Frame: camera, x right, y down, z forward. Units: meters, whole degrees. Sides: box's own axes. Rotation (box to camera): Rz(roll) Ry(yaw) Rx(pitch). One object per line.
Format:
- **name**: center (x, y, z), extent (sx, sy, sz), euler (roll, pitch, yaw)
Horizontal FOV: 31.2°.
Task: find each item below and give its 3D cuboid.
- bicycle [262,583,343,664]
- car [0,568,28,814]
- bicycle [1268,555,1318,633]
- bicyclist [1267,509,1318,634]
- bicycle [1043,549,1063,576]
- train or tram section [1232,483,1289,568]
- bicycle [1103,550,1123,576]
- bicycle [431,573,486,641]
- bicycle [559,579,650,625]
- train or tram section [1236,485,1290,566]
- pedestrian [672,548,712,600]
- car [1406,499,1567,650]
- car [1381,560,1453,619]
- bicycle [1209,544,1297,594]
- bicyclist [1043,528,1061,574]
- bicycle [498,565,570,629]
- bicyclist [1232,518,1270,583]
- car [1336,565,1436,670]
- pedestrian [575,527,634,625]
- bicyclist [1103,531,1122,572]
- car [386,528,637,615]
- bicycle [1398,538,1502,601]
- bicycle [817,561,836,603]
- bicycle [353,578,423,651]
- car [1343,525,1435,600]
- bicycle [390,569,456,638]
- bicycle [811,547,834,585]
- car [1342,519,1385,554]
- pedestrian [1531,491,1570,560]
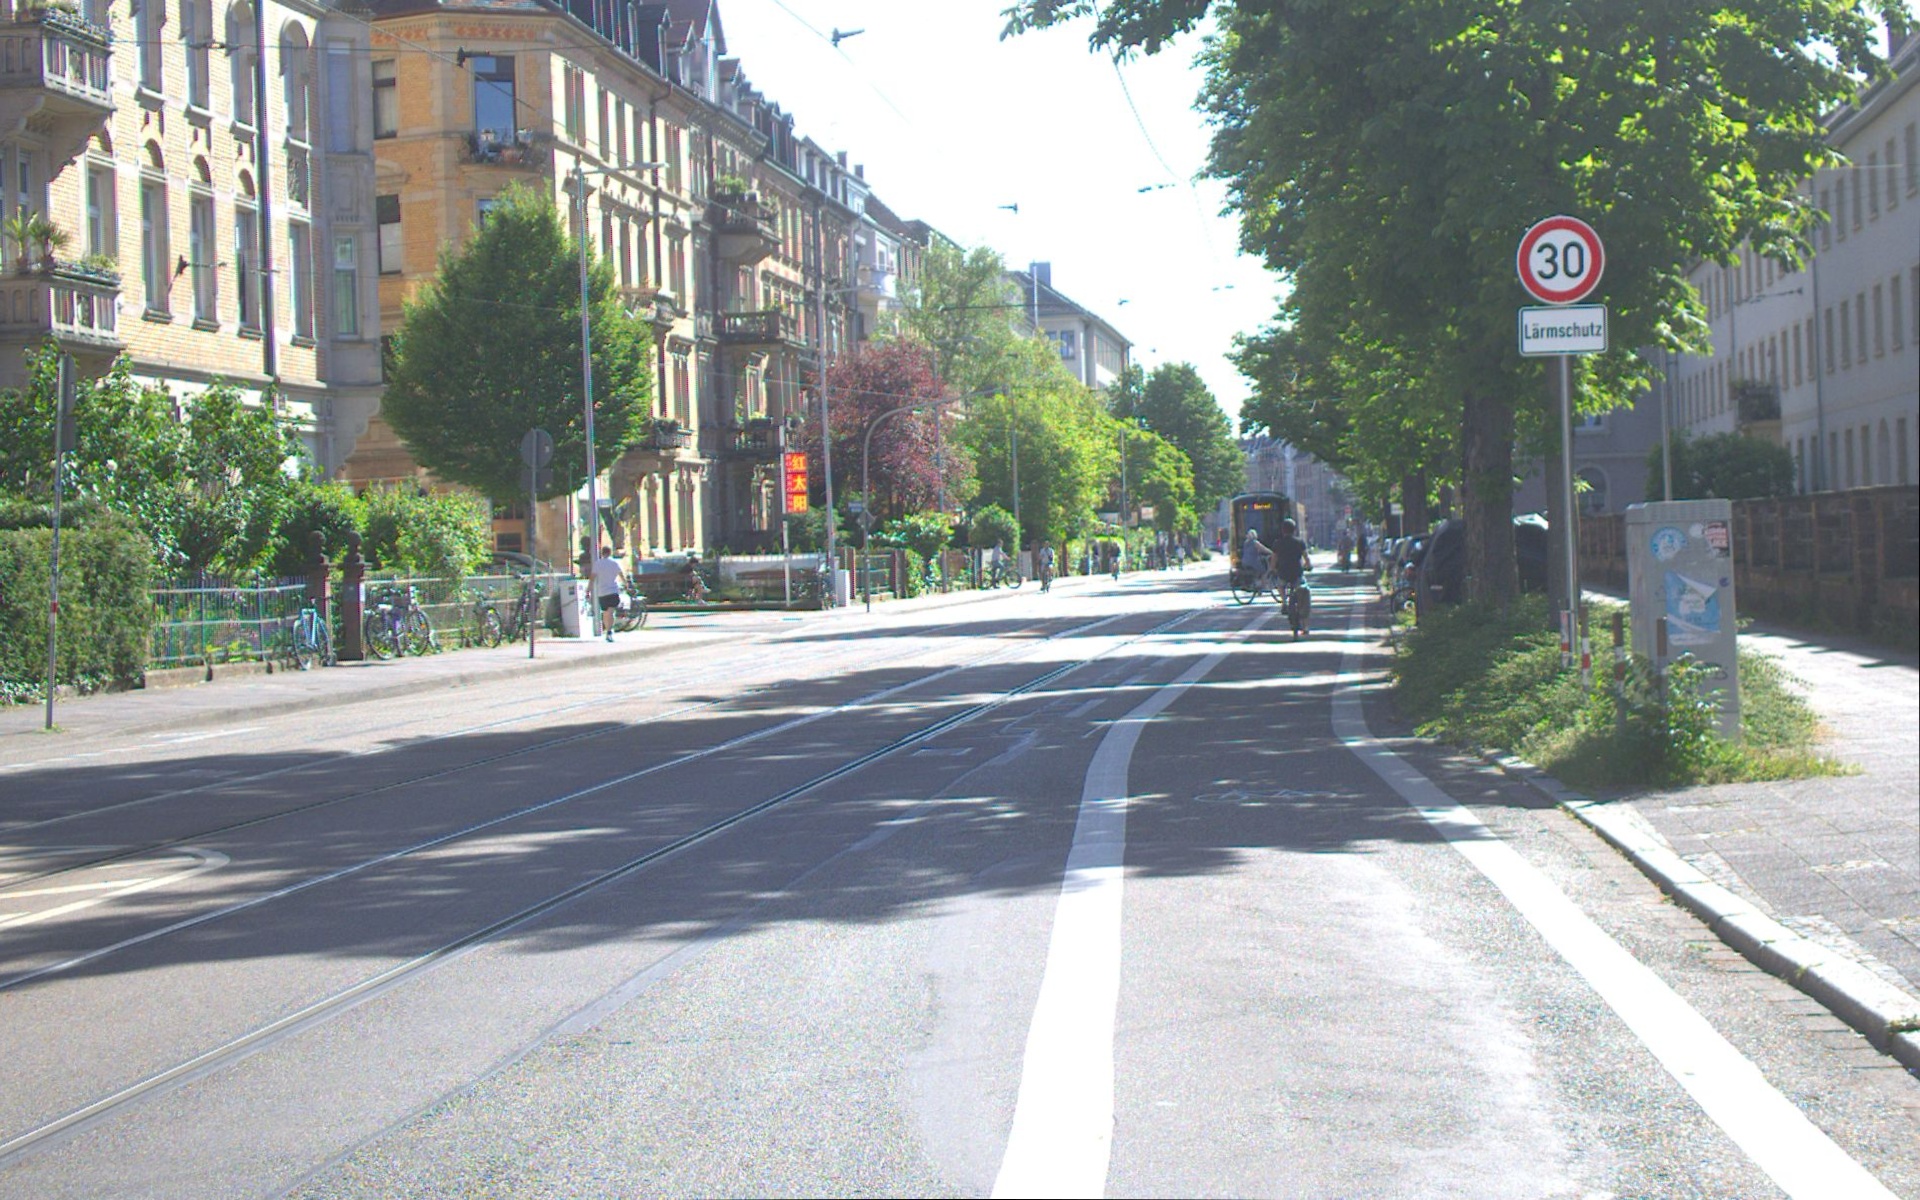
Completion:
- **bicycle**: center (-9.019, 0.310, 47.221), extent (0.563, 1.030, 1.767), euler (0, 2, 7)
- **car**: center (-7.073, 0.604, 19.272), extent (1.832, 1.513, 4.966), euler (1, 1, 7)
- **bicycle**: center (4.927, -0.098, 50.848), extent (0.692, 1.108, 1.718), euler (0, 1, 7)
- **bicyclist**: center (4.921, -0.427, 50.835), extent (0.727, 1.842, 0.836), euler (0, 1, 6)
- **bicycle**: center (3.307, -1.345, 122.093), extent (0.460, 0.922, 2.202), euler (-3, 1, 7)
- **train or tram section**: center (12.522, -3.085, 142.832), extent (2.154, 3.420, 6.610), euler (0, 1, 6)
- **bicycle**: center (6.787, -1.632, 152.394), extent (0.692, 1.108, 1.718), euler (-3, 1, 7)
- **bicycle**: center (-8.212, 0.112, 56.233), extent (0.563, 1.030, 1.768), euler (2, 2, -18)
- **bicycle**: center (-7.474, 0.037, 72.304), extent (1.782, 0.911, 0.621), euler (-1, -1, -29)
- **train or tram section**: center (13.202, -3.229, 149.455), extent (2.154, 3.420, 6.610), euler (0, 1, 6)
- **pedestrian**: center (-7.261, -0.707, 93.196), extent (0.901, 1.348, 0.577), euler (-4, 0, 8)
- **car**: center (6.493, -0.354, 42.767), extent (1.744, 1.760, 4.477), euler (0, 1, 6)
- **car**: center (12.378, -0.306, 93.261), extent (1.787, 1.459, 4.044), euler (-2, 1, 7)
- **bicycle**: center (6.689, -0.723, 78.487), extent (1.911, 1.108, 0.694), euler (-1, 1, -28)
- **bicyclist**: center (3.286, -1.735, 122.101), extent (0.464, 1.613, 0.744), euler (-4, 1, 7)
- **bicycle**: center (-7.273, -0.057, 58.630), extent (0.563, 1.030, 1.768), euler (-2, 3, -30)
- **bicyclist**: center (6.624, -1.137, 78.363), extent (0.614, 1.463, 0.637), euler (-1, 1, -27)
- **car**: center (7.696, 0.288, 62.359), extent (1.666, 1.755, 4.230), euler (-2, 1, 6)
- **pedestrian**: center (-6.269, -0.424, 60.640), extent (0.829, 1.718, 1.082), euler (0, 0, 6)
- **bicyclist**: center (6.759, -2.142, 152.431), extent (0.660, 1.795, 0.615), euler (-4, 0, 7)
- **car**: center (-8.687, -0.558, 66.741), extent (4.447, 1.638, 1.966), euler (0, 1, 10)
- **bicycle**: center (8.426, -0.529, 59.127), extent (1.762, 1.074, 0.433), euler (0, 1, 8)
- **bicycle**: center (-3.585, -0.486, 92.152), extent (0.371, 1.122, 0.808), euler (0, 1, 7)
- **bicycle**: center (-8.477, 0.202, 51.008), extent (0.563, 1.030, 1.767), euler (0, 1, 6)
- **car**: center (9.067, -0.817, 72.878), extent (1.720, 1.468, 4.245), euler (-3, 1, 5)
- **bicycle**: center (-8.296, 0.045, 53.130), extent (0.563, 1.030, 1.767), euler (0, 1, 6)
- **bicycle**: center (-3.715, -0.928, 92.931), extent (0.335, 0.997, 1.869), euler (0, 1, 7)
- **car**: center (17.408, -2.748, 148.307), extent (1.749, 1.415, 3.999), euler (-3, 1, 6)
- **pedestrian**: center (14.674, -1.850, 85.382), extent (0.764, 1.718, 0.578), euler (0, 1, 36)
